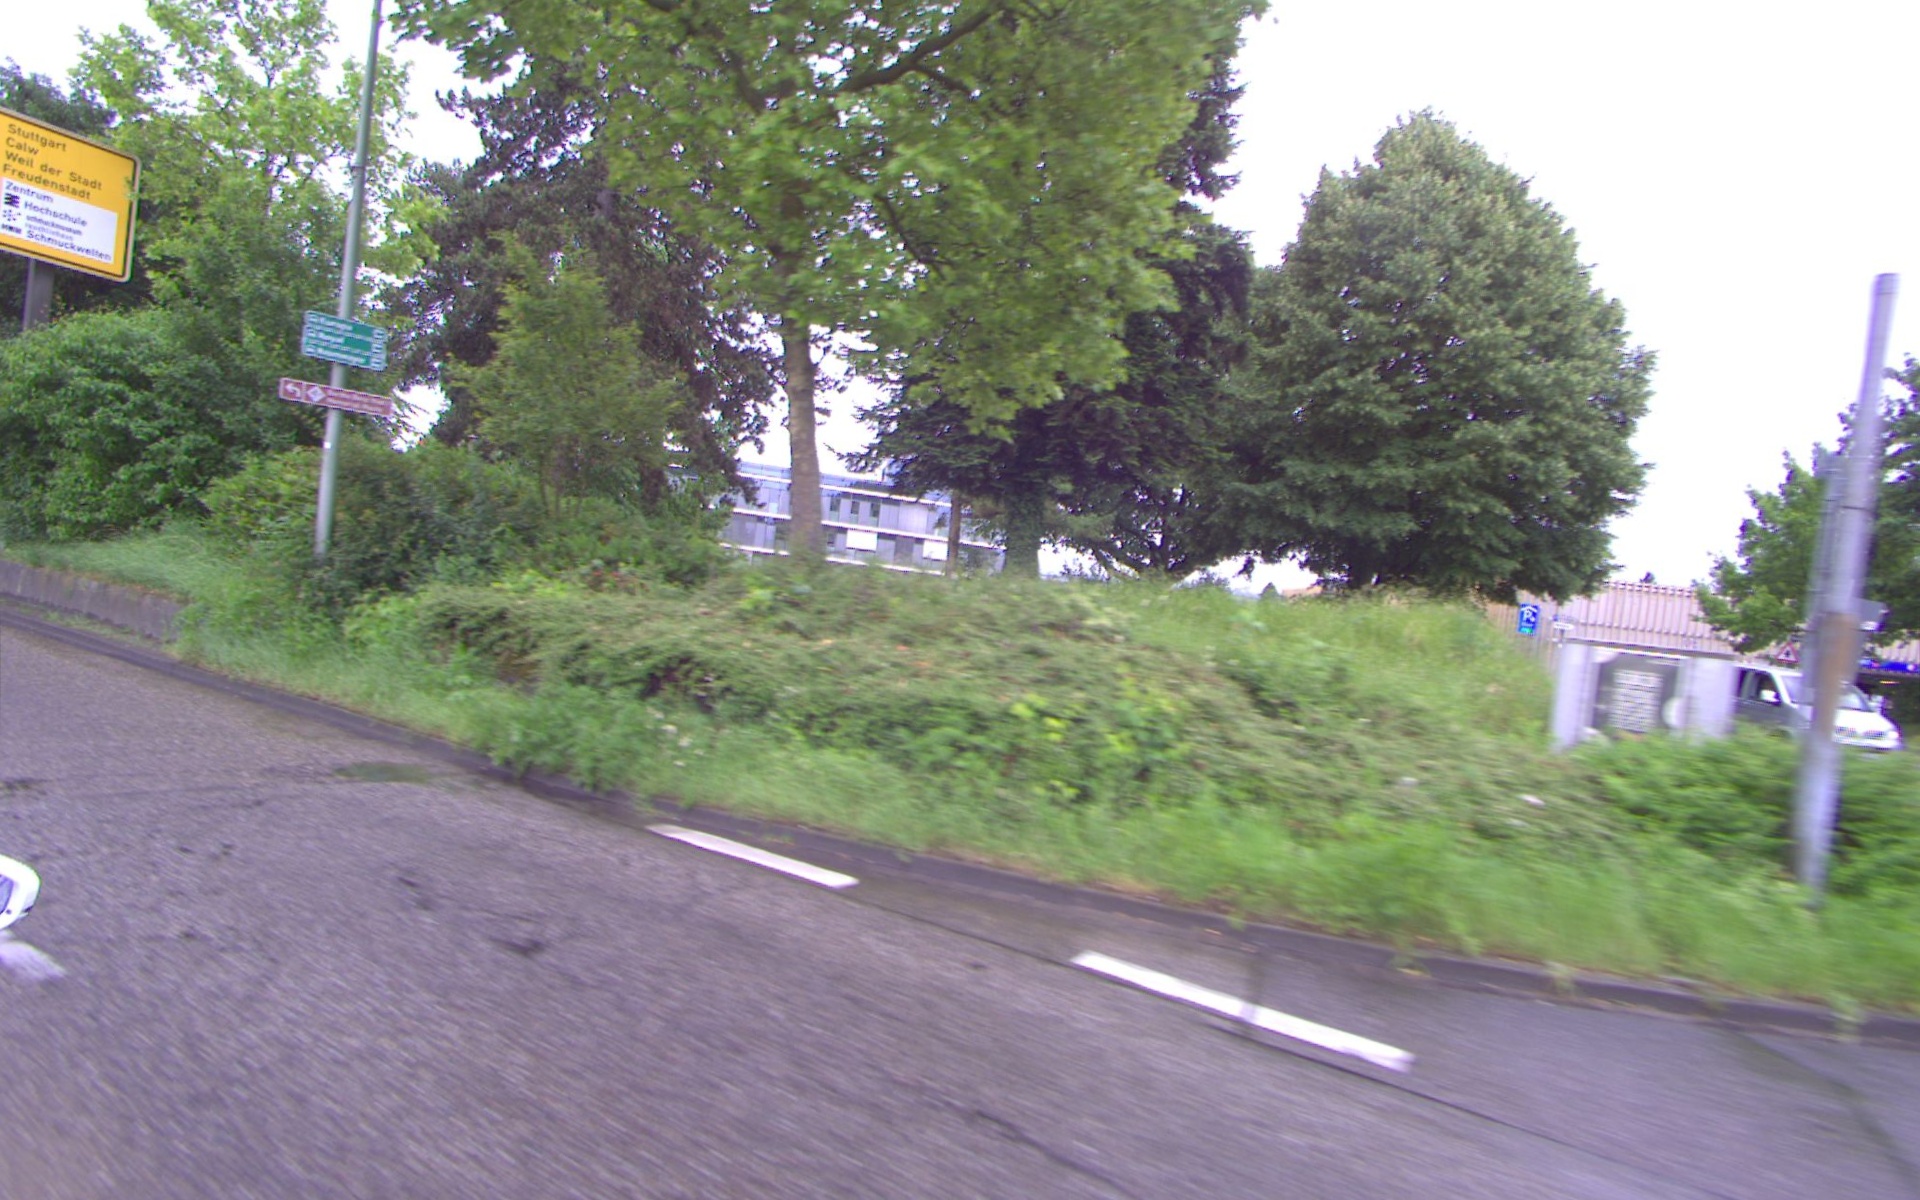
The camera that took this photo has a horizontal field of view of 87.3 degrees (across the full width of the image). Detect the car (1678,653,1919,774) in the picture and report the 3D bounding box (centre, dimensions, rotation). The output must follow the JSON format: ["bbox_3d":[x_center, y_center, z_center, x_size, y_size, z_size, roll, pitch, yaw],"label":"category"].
[{"bbox_3d":[17.381,2.266,21.087,1.817,1.883,3.999,5,1,4],"label":"car"}]
